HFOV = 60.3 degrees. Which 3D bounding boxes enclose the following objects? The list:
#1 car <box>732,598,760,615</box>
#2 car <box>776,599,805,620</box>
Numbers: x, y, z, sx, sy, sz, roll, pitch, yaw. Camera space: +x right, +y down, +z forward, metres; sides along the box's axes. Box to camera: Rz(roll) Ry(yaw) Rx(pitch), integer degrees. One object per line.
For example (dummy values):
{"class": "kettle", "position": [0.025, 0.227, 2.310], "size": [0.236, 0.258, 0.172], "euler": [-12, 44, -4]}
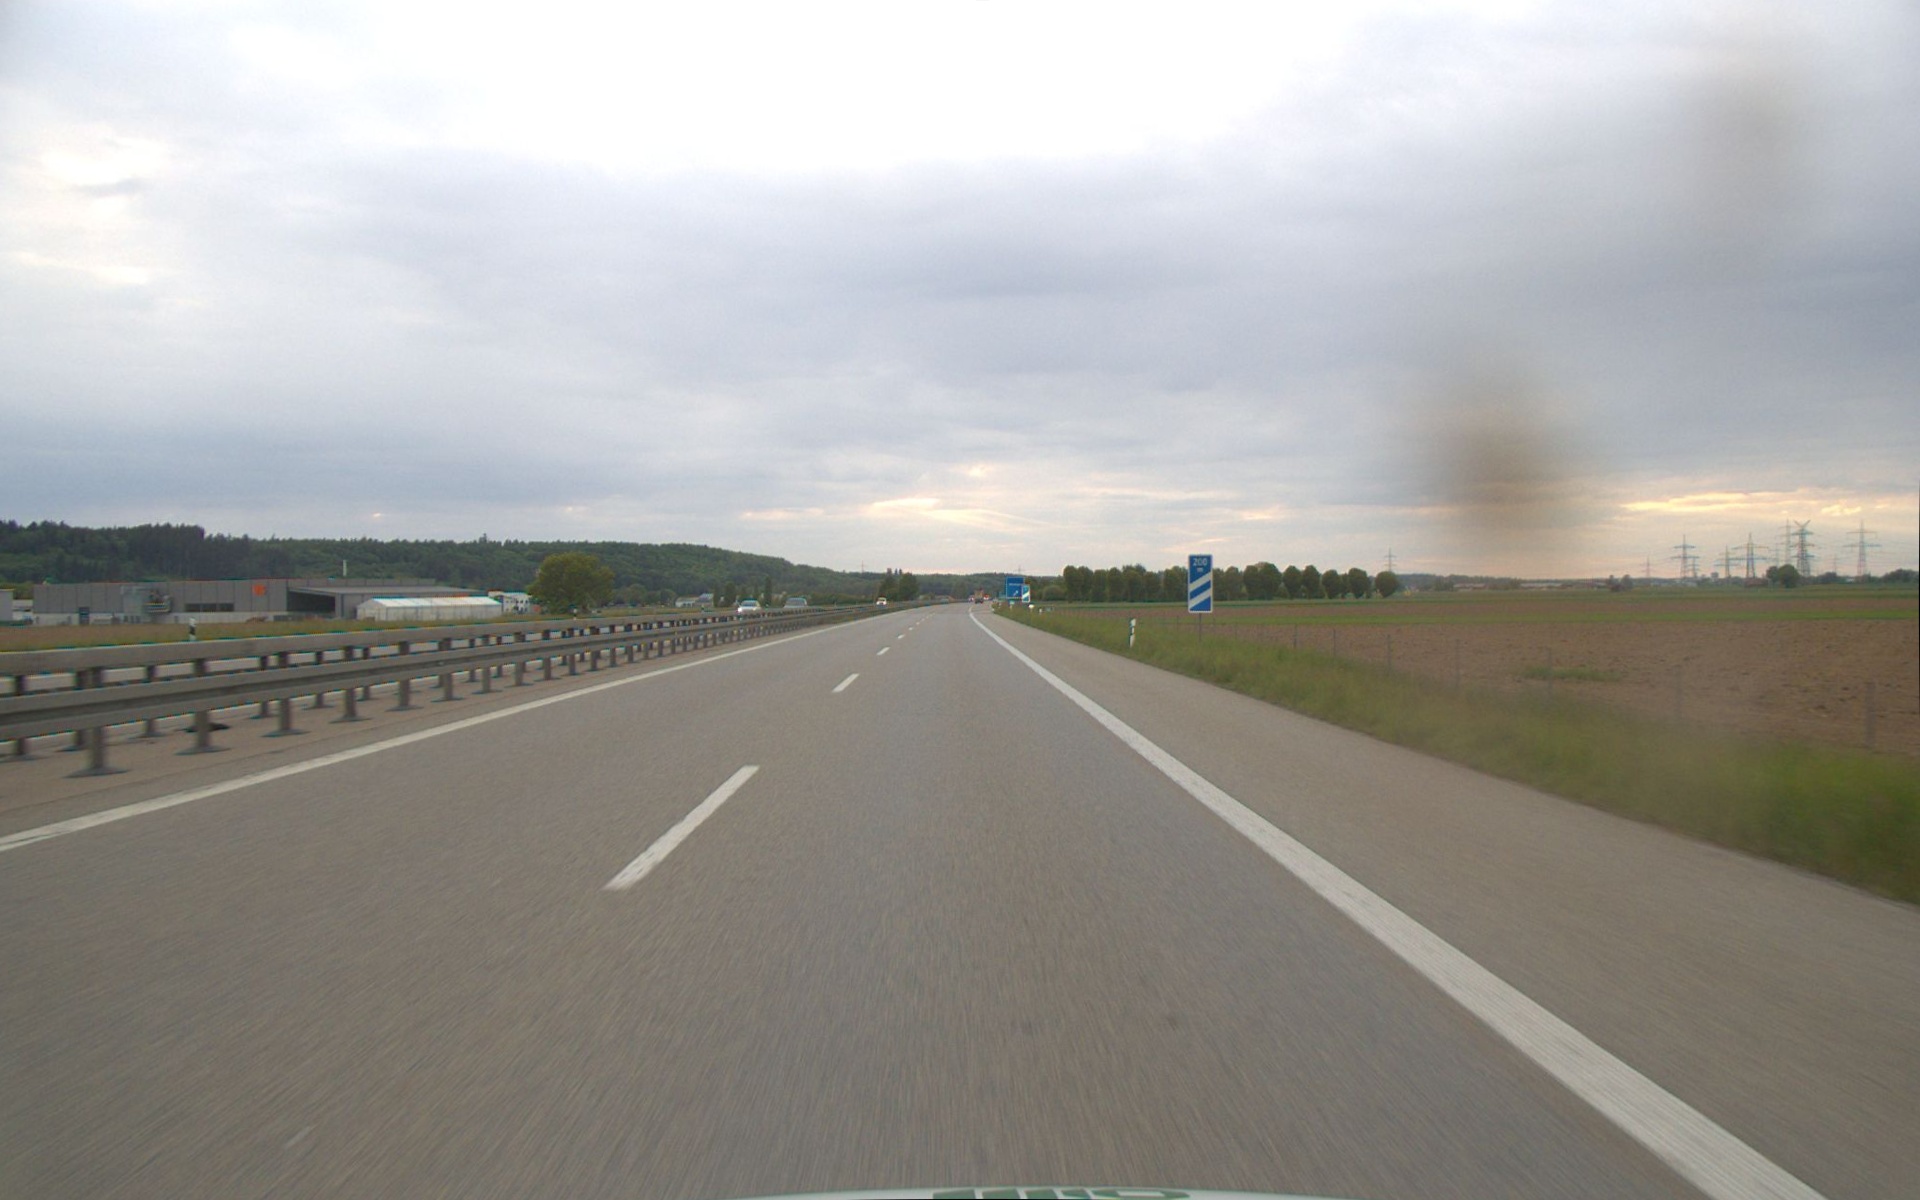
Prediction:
{"class": "car", "position": [-18.846, 0.568, 145.885], "size": [1.953, 1.522, 4.761], "euler": [0, 0, -2]}
{"class": "car", "position": [-13.921, 0.762, 136.322], "size": [1.953, 1.730, 4.301], "euler": [1, 0, -1]}
